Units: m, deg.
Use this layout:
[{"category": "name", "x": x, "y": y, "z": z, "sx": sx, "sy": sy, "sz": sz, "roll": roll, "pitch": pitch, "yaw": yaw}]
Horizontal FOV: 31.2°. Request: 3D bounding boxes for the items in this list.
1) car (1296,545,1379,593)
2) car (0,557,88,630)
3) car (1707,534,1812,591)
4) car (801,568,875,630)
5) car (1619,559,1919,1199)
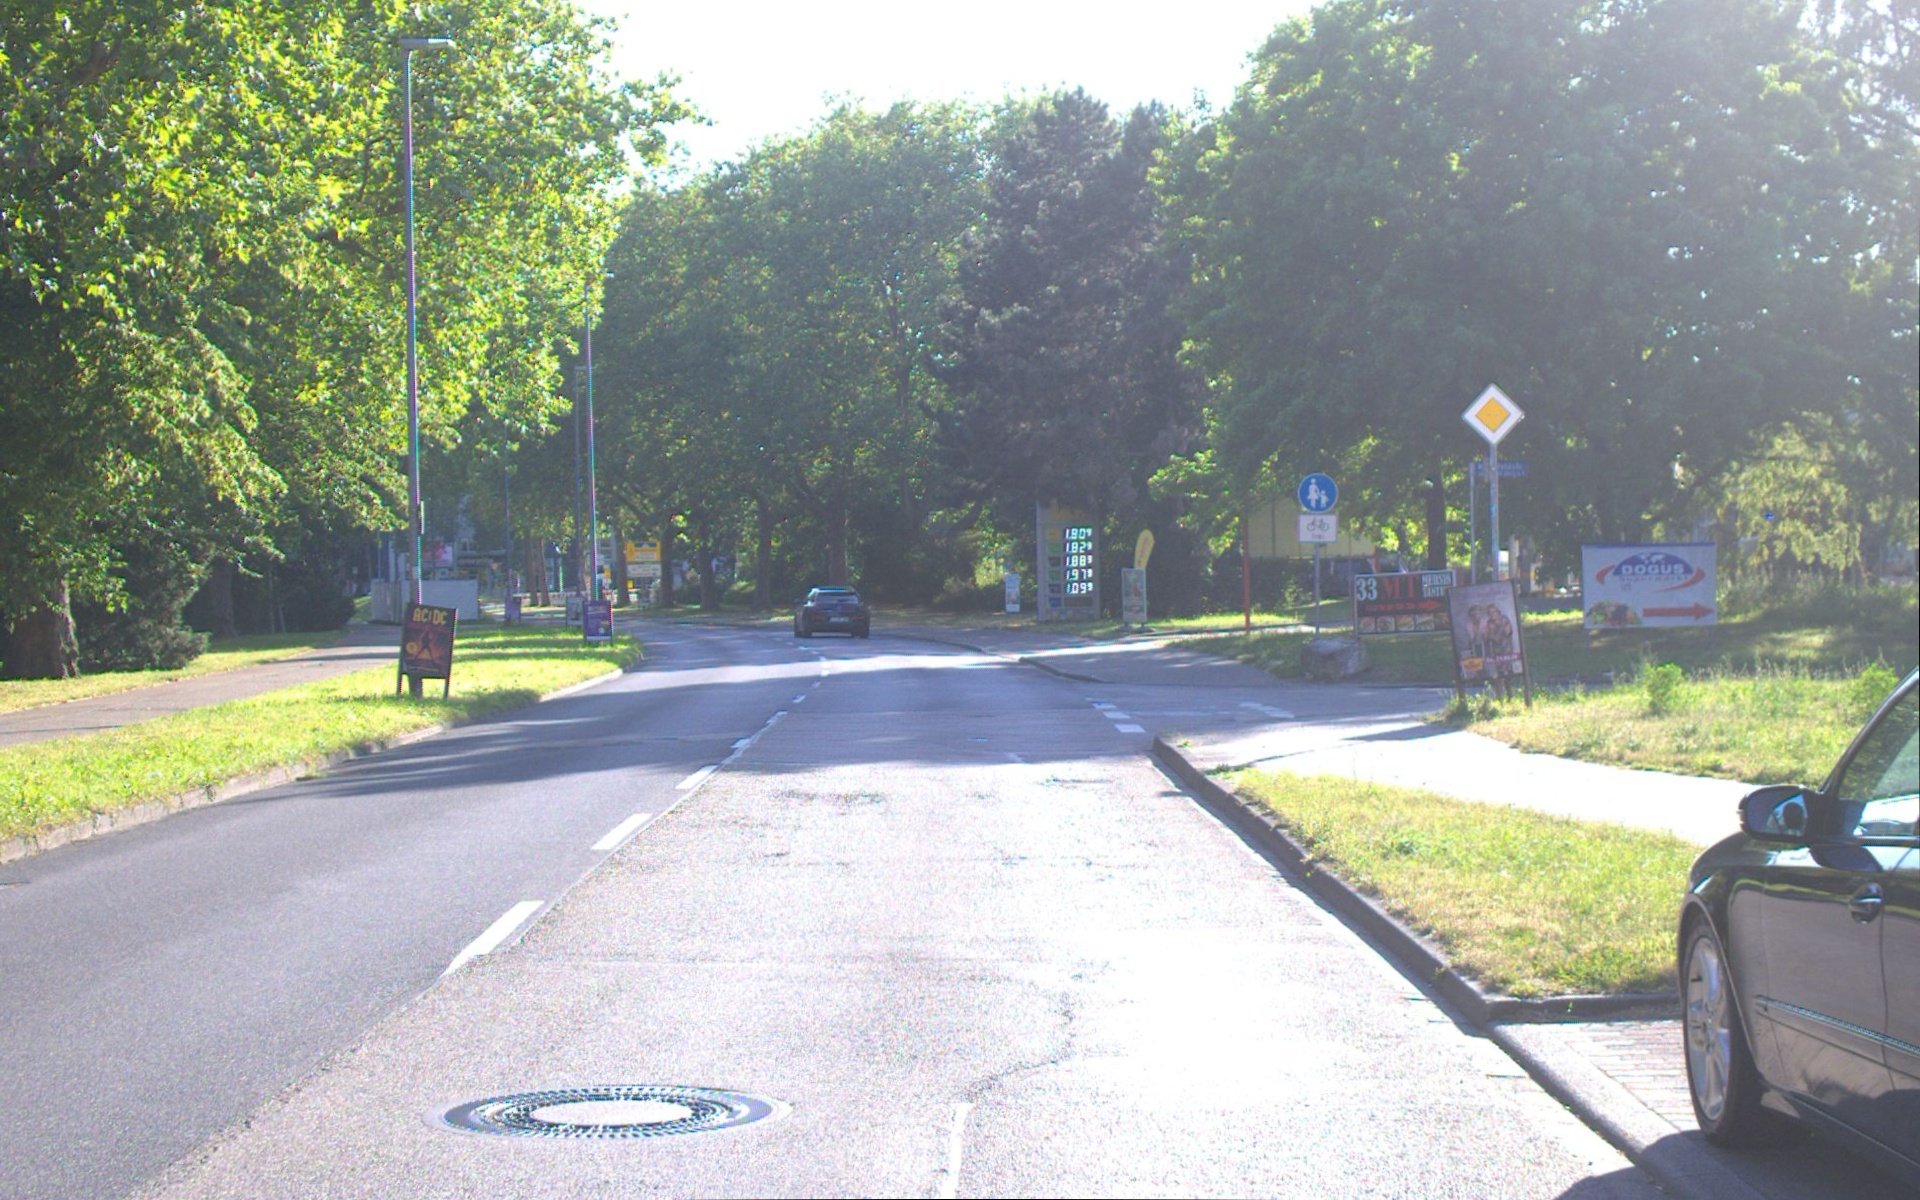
[{"category": "car", "x": 11.761, "y": -0.974, "z": 107.433, "sx": 1.841, "sy": 1.415, "sz": 4.001, "roll": -1, "pitch": 1, "yaw": -4}, {"category": "car", "x": -20.227, "y": -0.144, "z": 71.225, "sx": 3.986, "sy": 1.503, "sz": 1.913, "roll": 0, "pitch": 0, "yaw": -7}, {"category": "car", "x": 25.343, "y": -1.197, "z": 109.091, "sx": 1.812, "sy": 1.722, "sz": 4.400, "roll": -2, "pitch": 1, "yaw": -7}, {"category": "car", "x": -3.343, "y": -0.040, "z": 95.038, "sx": 1.839, "sy": 1.600, "sz": 3.863, "roll": -2, "pitch": 1, "yaw": 0}, {"category": "car", "x": 2.797, "y": 0.661, "z": 7.375, "sx": 1.782, "sy": 1.510, "sz": 4.689, "roll": -2, "pitch": 1, "yaw": 0}]
